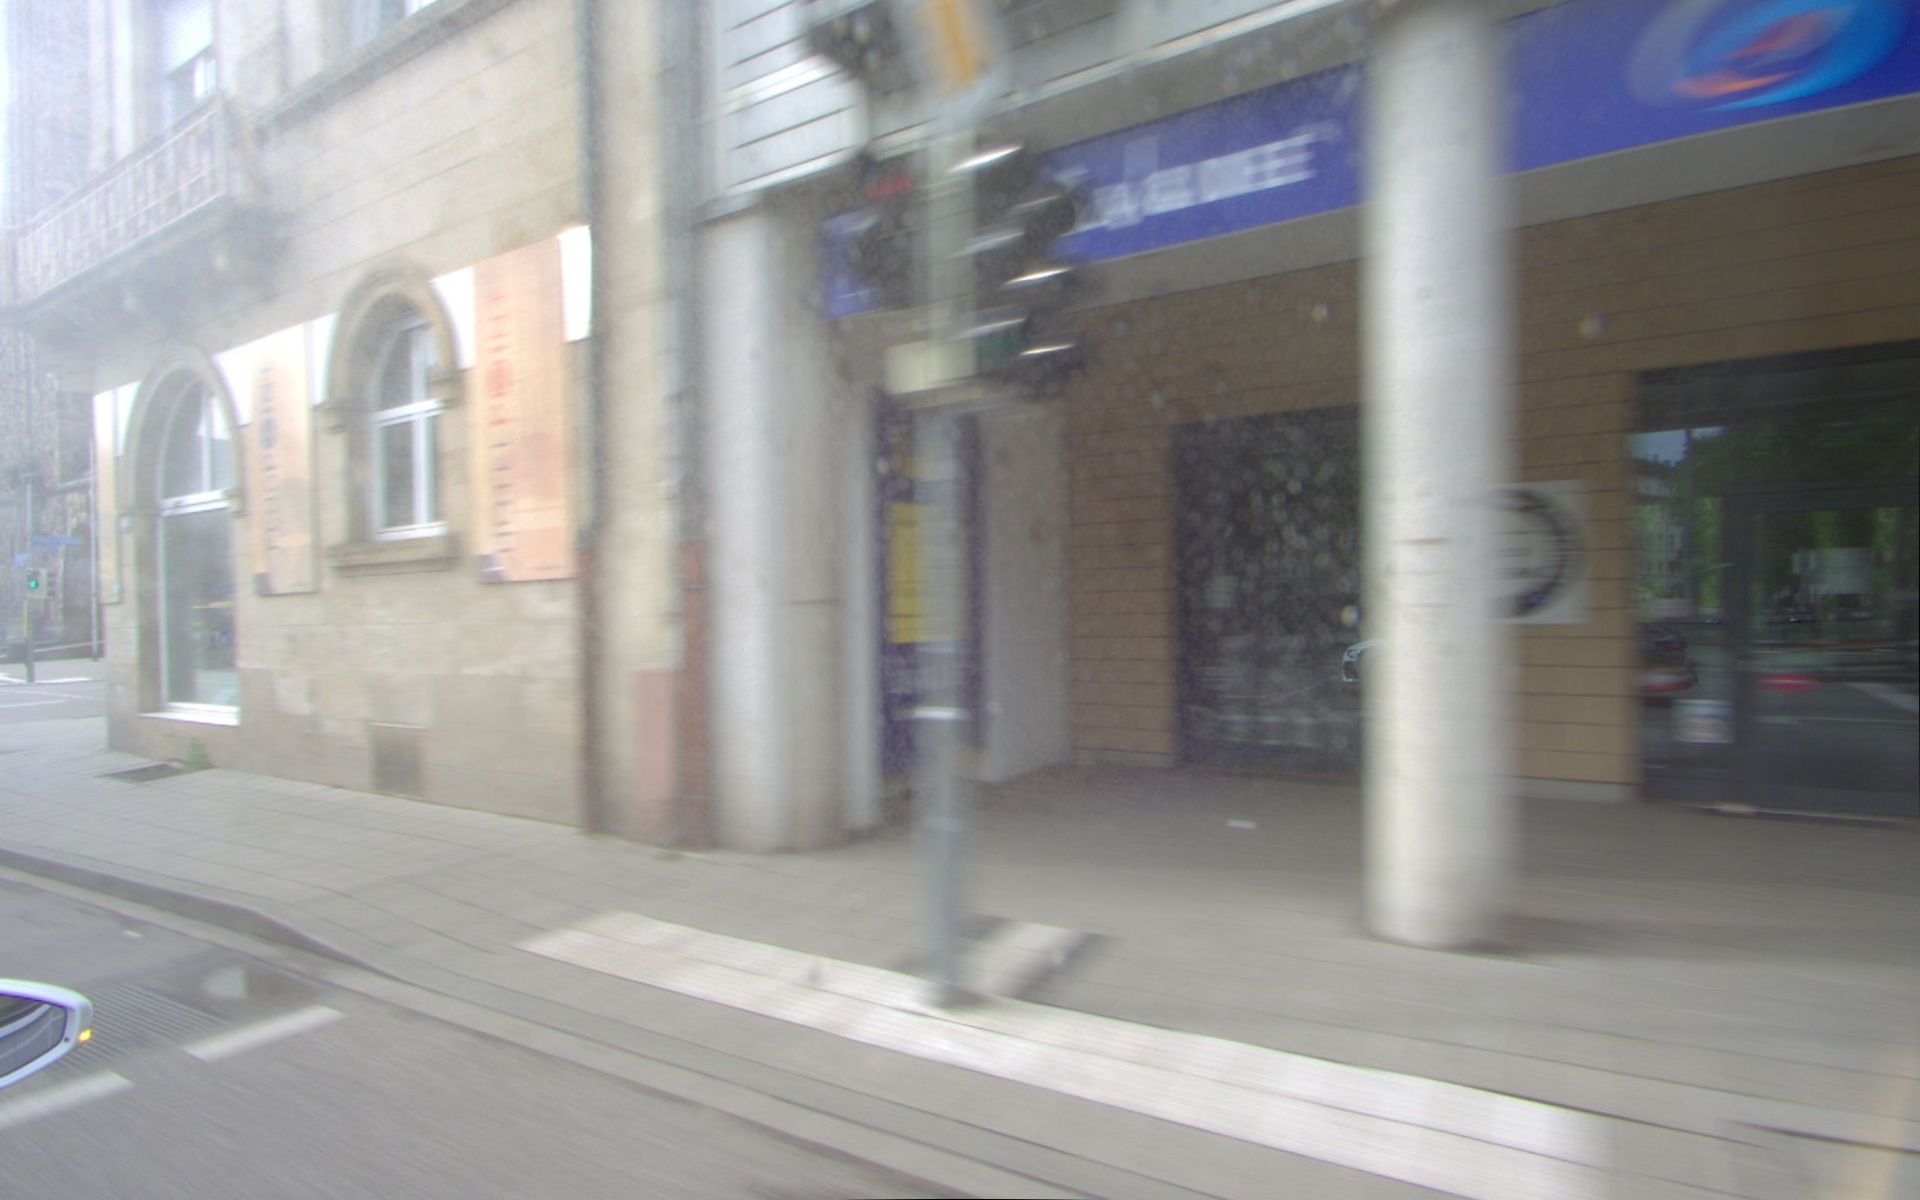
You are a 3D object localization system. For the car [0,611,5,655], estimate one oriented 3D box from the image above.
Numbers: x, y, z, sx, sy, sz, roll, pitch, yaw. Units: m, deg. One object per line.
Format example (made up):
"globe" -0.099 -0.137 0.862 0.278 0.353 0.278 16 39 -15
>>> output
"car" -43.565 1.390 42.171 1.639 1.905 4.602 0 -1 32
